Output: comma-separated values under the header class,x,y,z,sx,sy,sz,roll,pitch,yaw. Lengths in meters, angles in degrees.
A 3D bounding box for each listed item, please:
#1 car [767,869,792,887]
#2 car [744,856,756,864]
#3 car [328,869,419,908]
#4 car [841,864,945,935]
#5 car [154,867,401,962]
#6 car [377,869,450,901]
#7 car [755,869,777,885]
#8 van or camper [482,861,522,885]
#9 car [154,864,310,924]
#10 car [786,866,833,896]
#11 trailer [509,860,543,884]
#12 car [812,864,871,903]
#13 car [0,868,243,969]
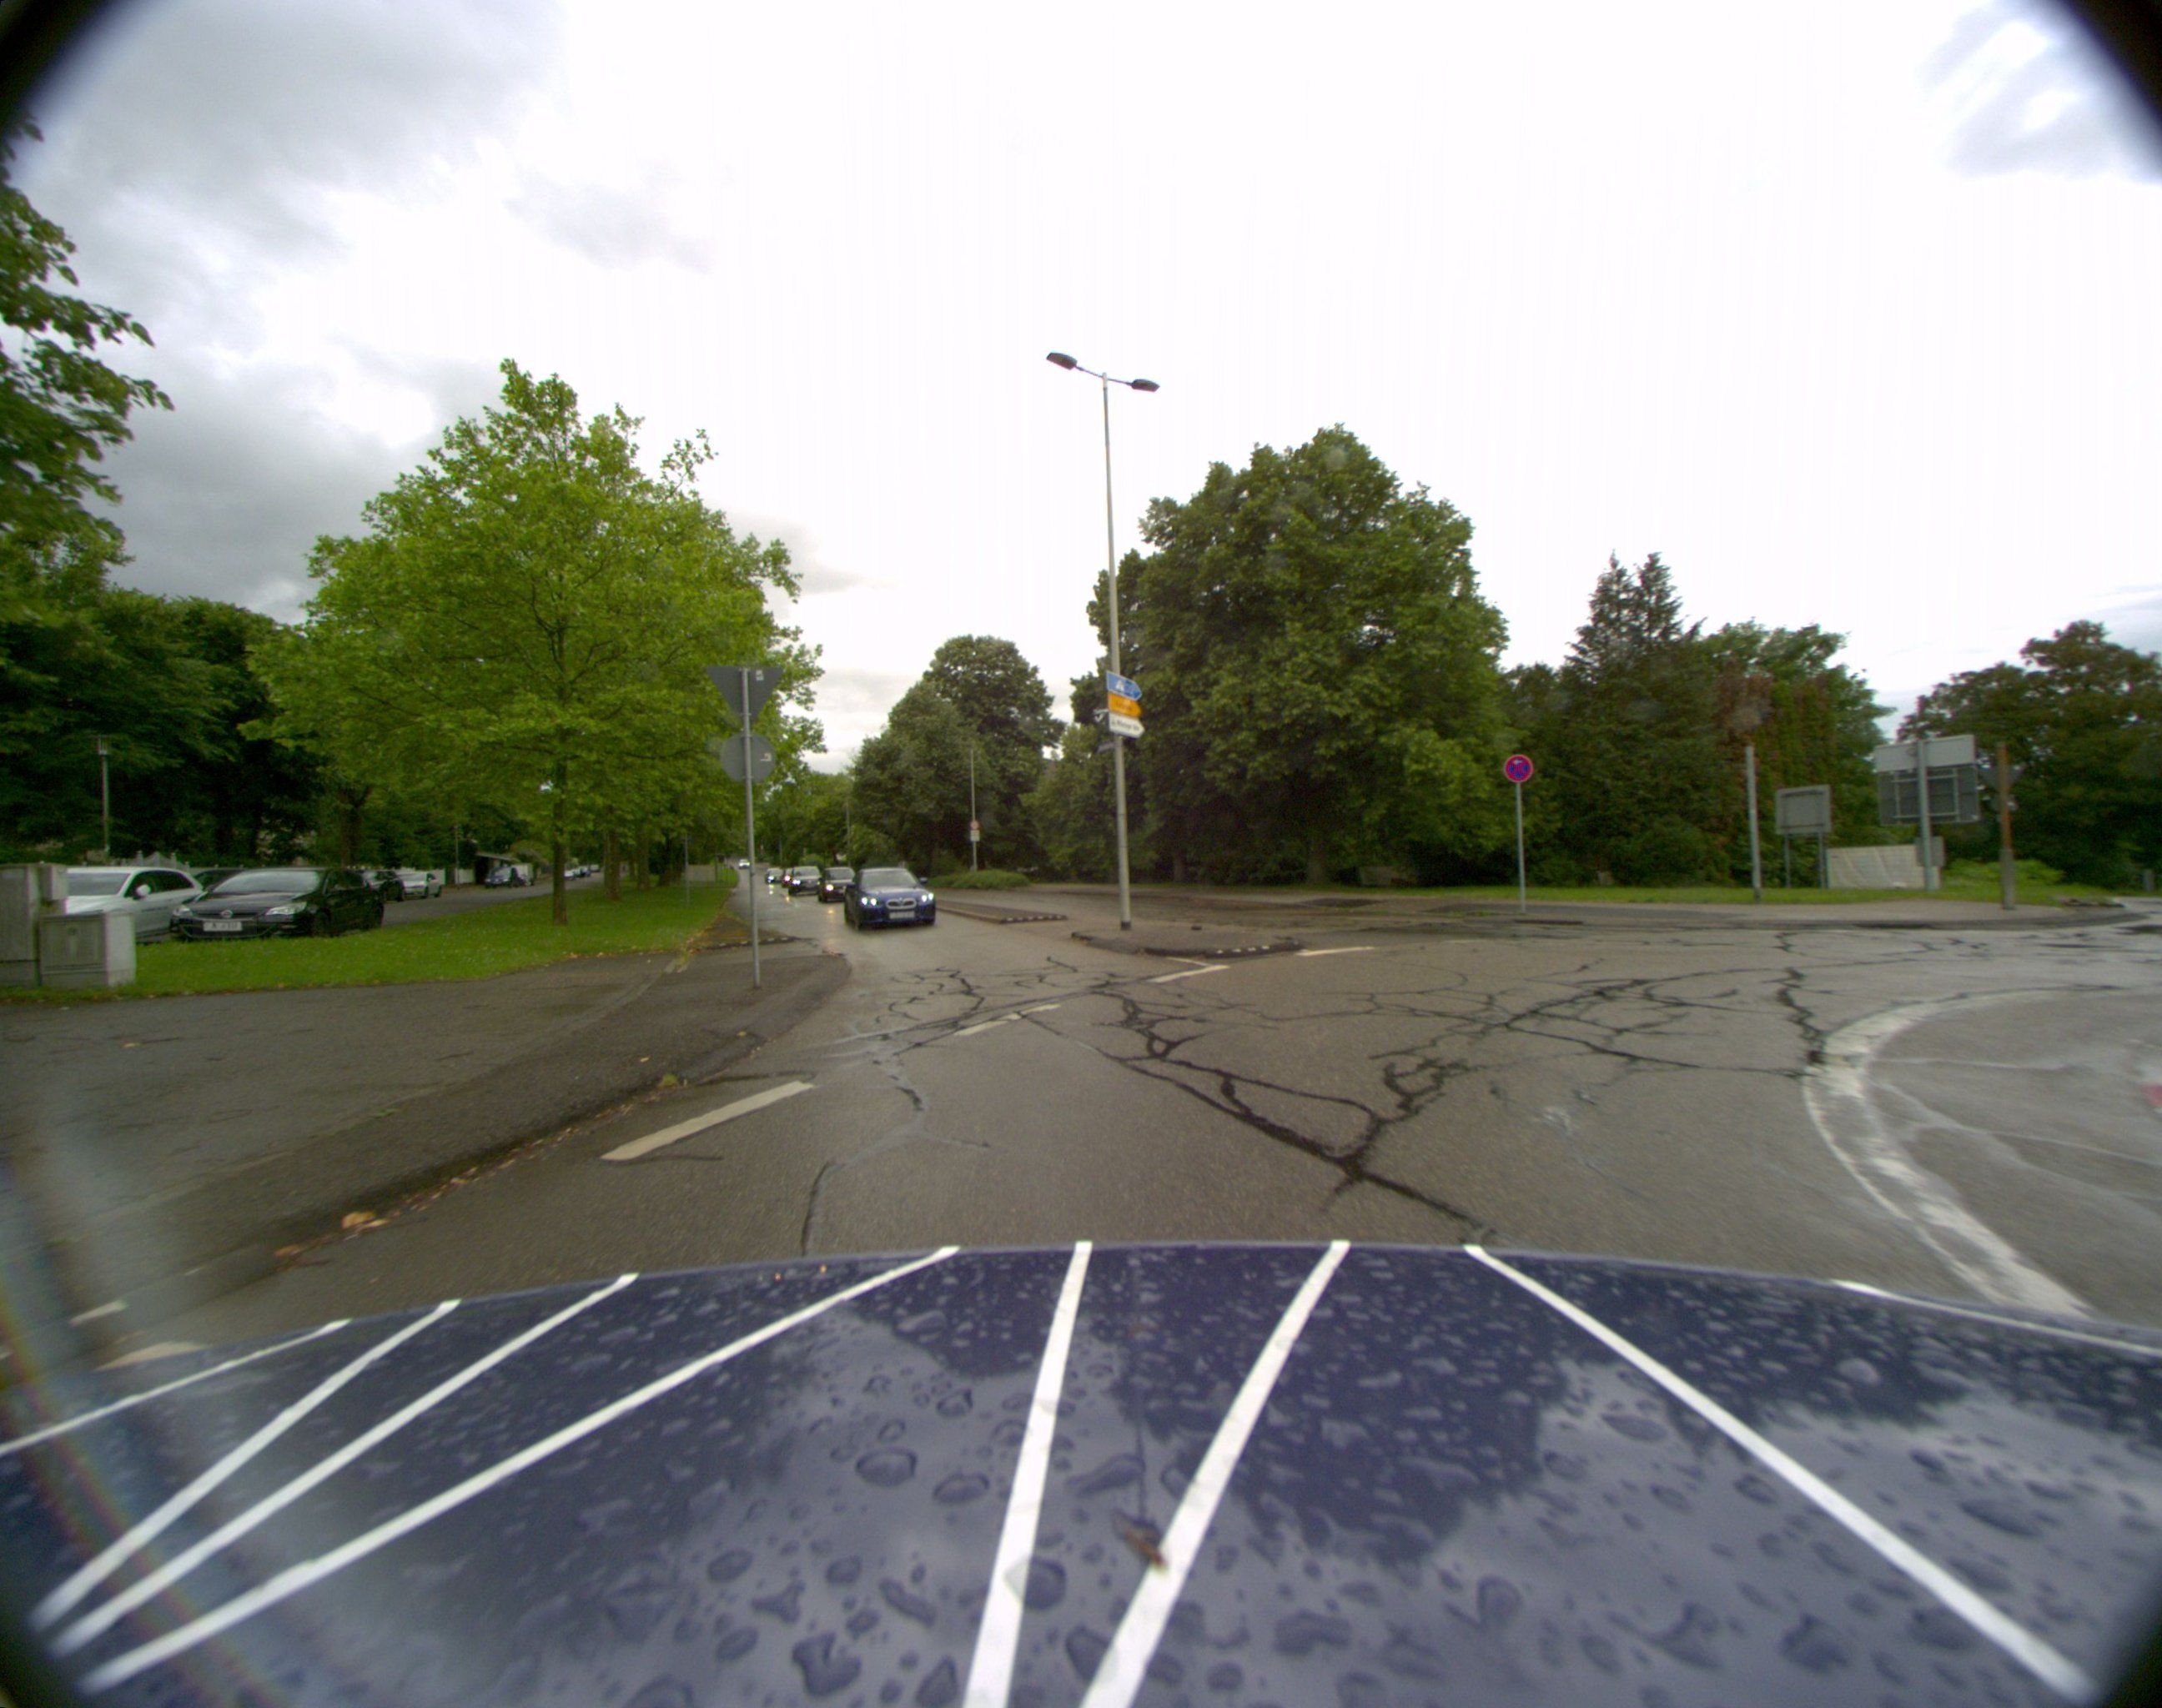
class,x,y,z,sx,sy,sz,roll,pitch,yaw
car,-29.736,2.329,74.944,1.828,1.471,4.061,-3,1,-16
car,-61.340,1.118,140.938,1.828,1.471,4.060,-3,1,-20
car,-32.087,1.512,34.603,2.003,1.463,4.115,-4,2,-29
car,-4.935,1.074,19.538,1.829,1.471,4.059,-4,2,-24
car,-15.159,1.012,14.707,1.772,1.462,4.588,0,0,-26
car,-35.833,1.637,40.909,2.003,1.441,4.115,-4,2,-29
car,-33.609,2.400,81.114,1.828,1.471,4.061,-3,1,-18
van or camper,-48.370,1.524,63.588,2.003,1.798,4.764,-4,2,-30
car,-26.227,1.158,23.677,1.768,1.463,4.347,-7,3,-29
car,-15.667,1.534,43.774,2.035,1.471,4.059,-4,1,-26
trailer,-52.753,1.691,72.303,1.774,2.105,5.181,-4,2,-28
car,-10.709,1.271,33.811,1.829,1.471,4.059,-4,2,-26
car,-17.282,1.014,13.419,1.854,1.462,4.416,-1,0,-27
